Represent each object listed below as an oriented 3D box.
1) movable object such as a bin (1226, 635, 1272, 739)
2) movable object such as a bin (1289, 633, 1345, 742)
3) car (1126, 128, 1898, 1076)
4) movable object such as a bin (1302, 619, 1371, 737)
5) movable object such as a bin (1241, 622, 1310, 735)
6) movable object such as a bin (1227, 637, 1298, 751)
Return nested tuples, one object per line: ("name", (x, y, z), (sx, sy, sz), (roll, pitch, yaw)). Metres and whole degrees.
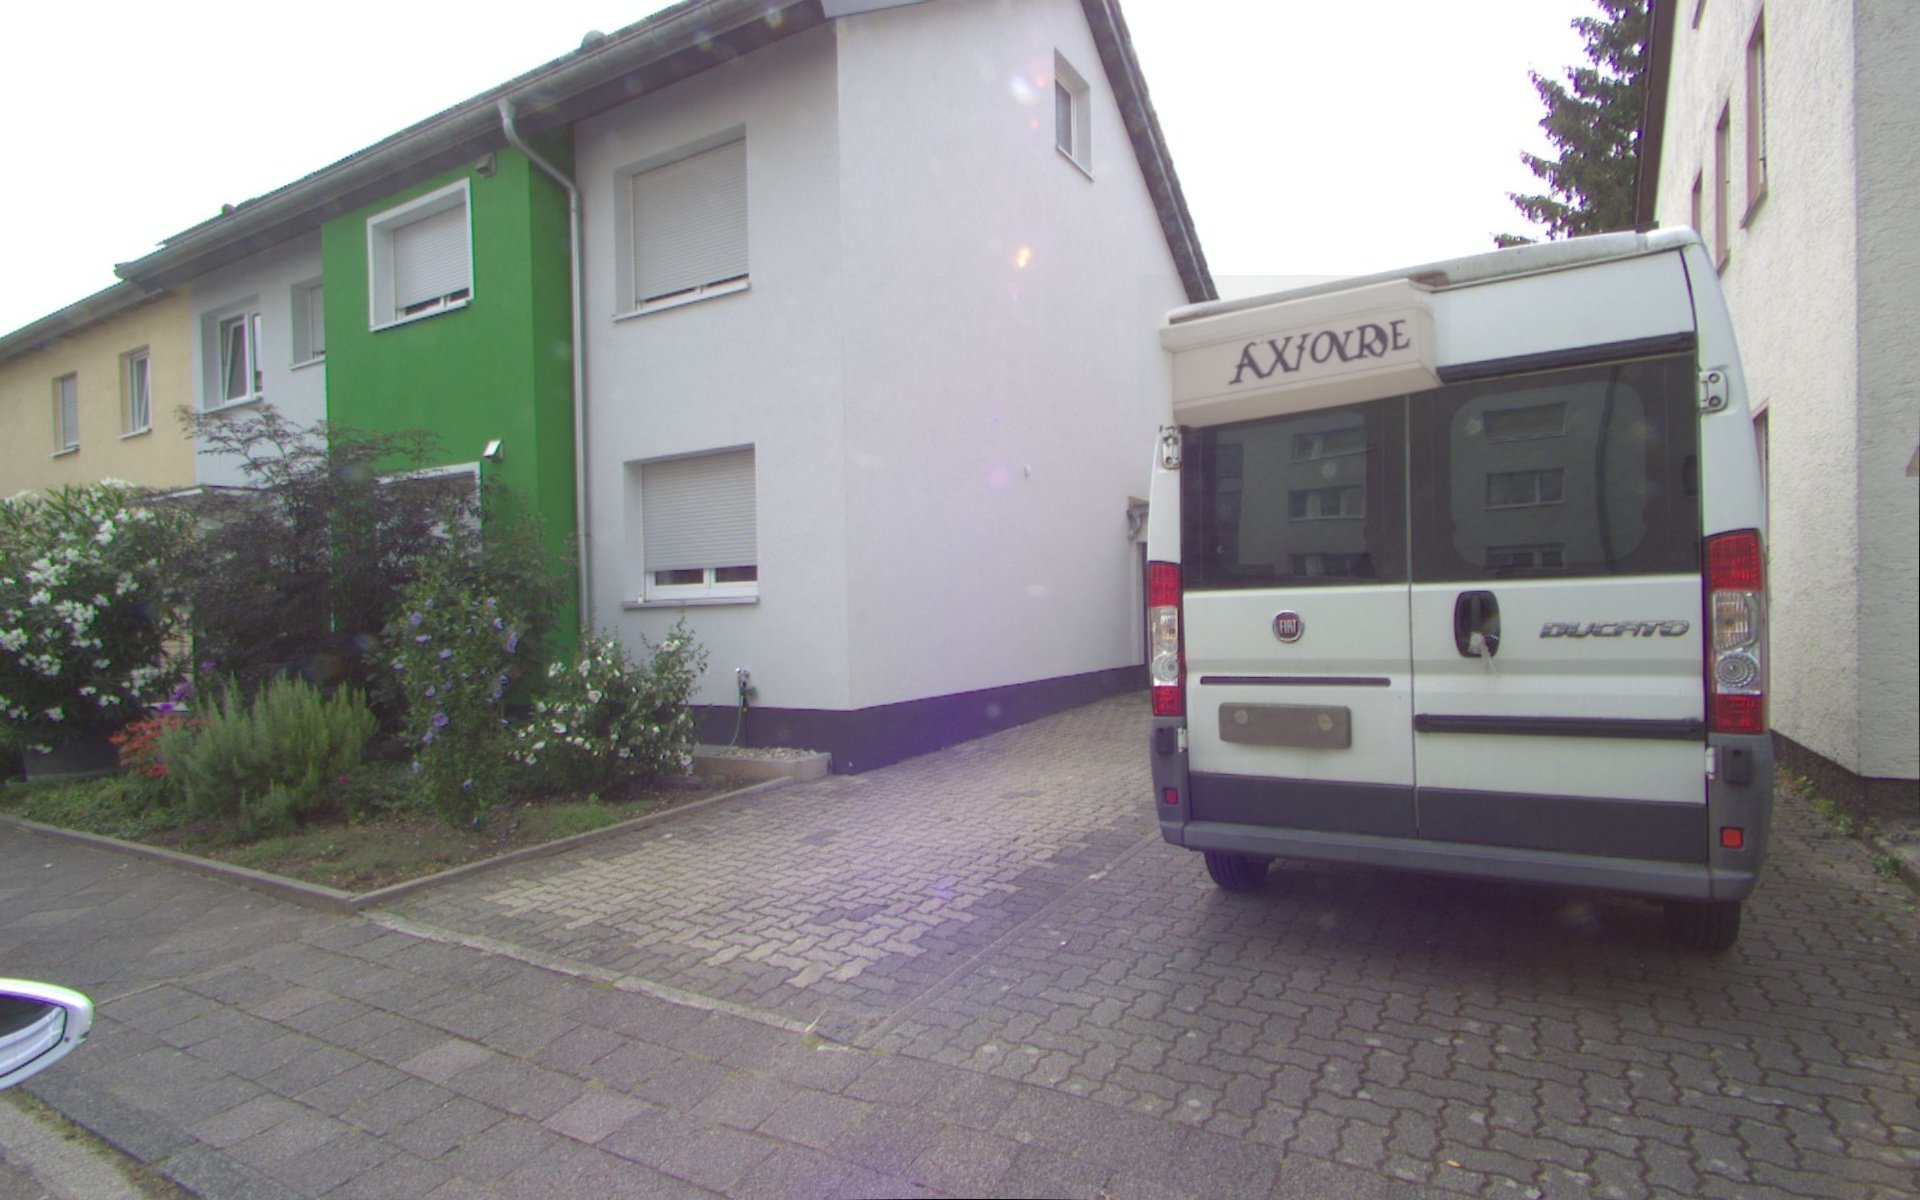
("movable object such as a bin", (2.739, 0.811, 9.485), (0.333, 0.938, 0.354), (-1, 2, 30))
("movable object such as a bin", (3.267, 0.783, 9.151), (0.396, 0.938, 0.448), (-1, 2, 30))
("car", (2.906, -0.014, 5.483), (2.205, 2.576, 5.077), (-1, 1, 31))
("movable object such as a bin", (3.581, 0.726, 9.517), (0.538, 1.071, 0.454), (-1, 2, 30))
("movable object such as a bin", (3.094, 0.752, 9.799), (0.538, 1.046, 0.454), (-1, 2, 30))
("movable object such as a bin", (2.685, 0.819, 8.872), (0.475, 0.938, 0.518), (-1, 2, 30))
